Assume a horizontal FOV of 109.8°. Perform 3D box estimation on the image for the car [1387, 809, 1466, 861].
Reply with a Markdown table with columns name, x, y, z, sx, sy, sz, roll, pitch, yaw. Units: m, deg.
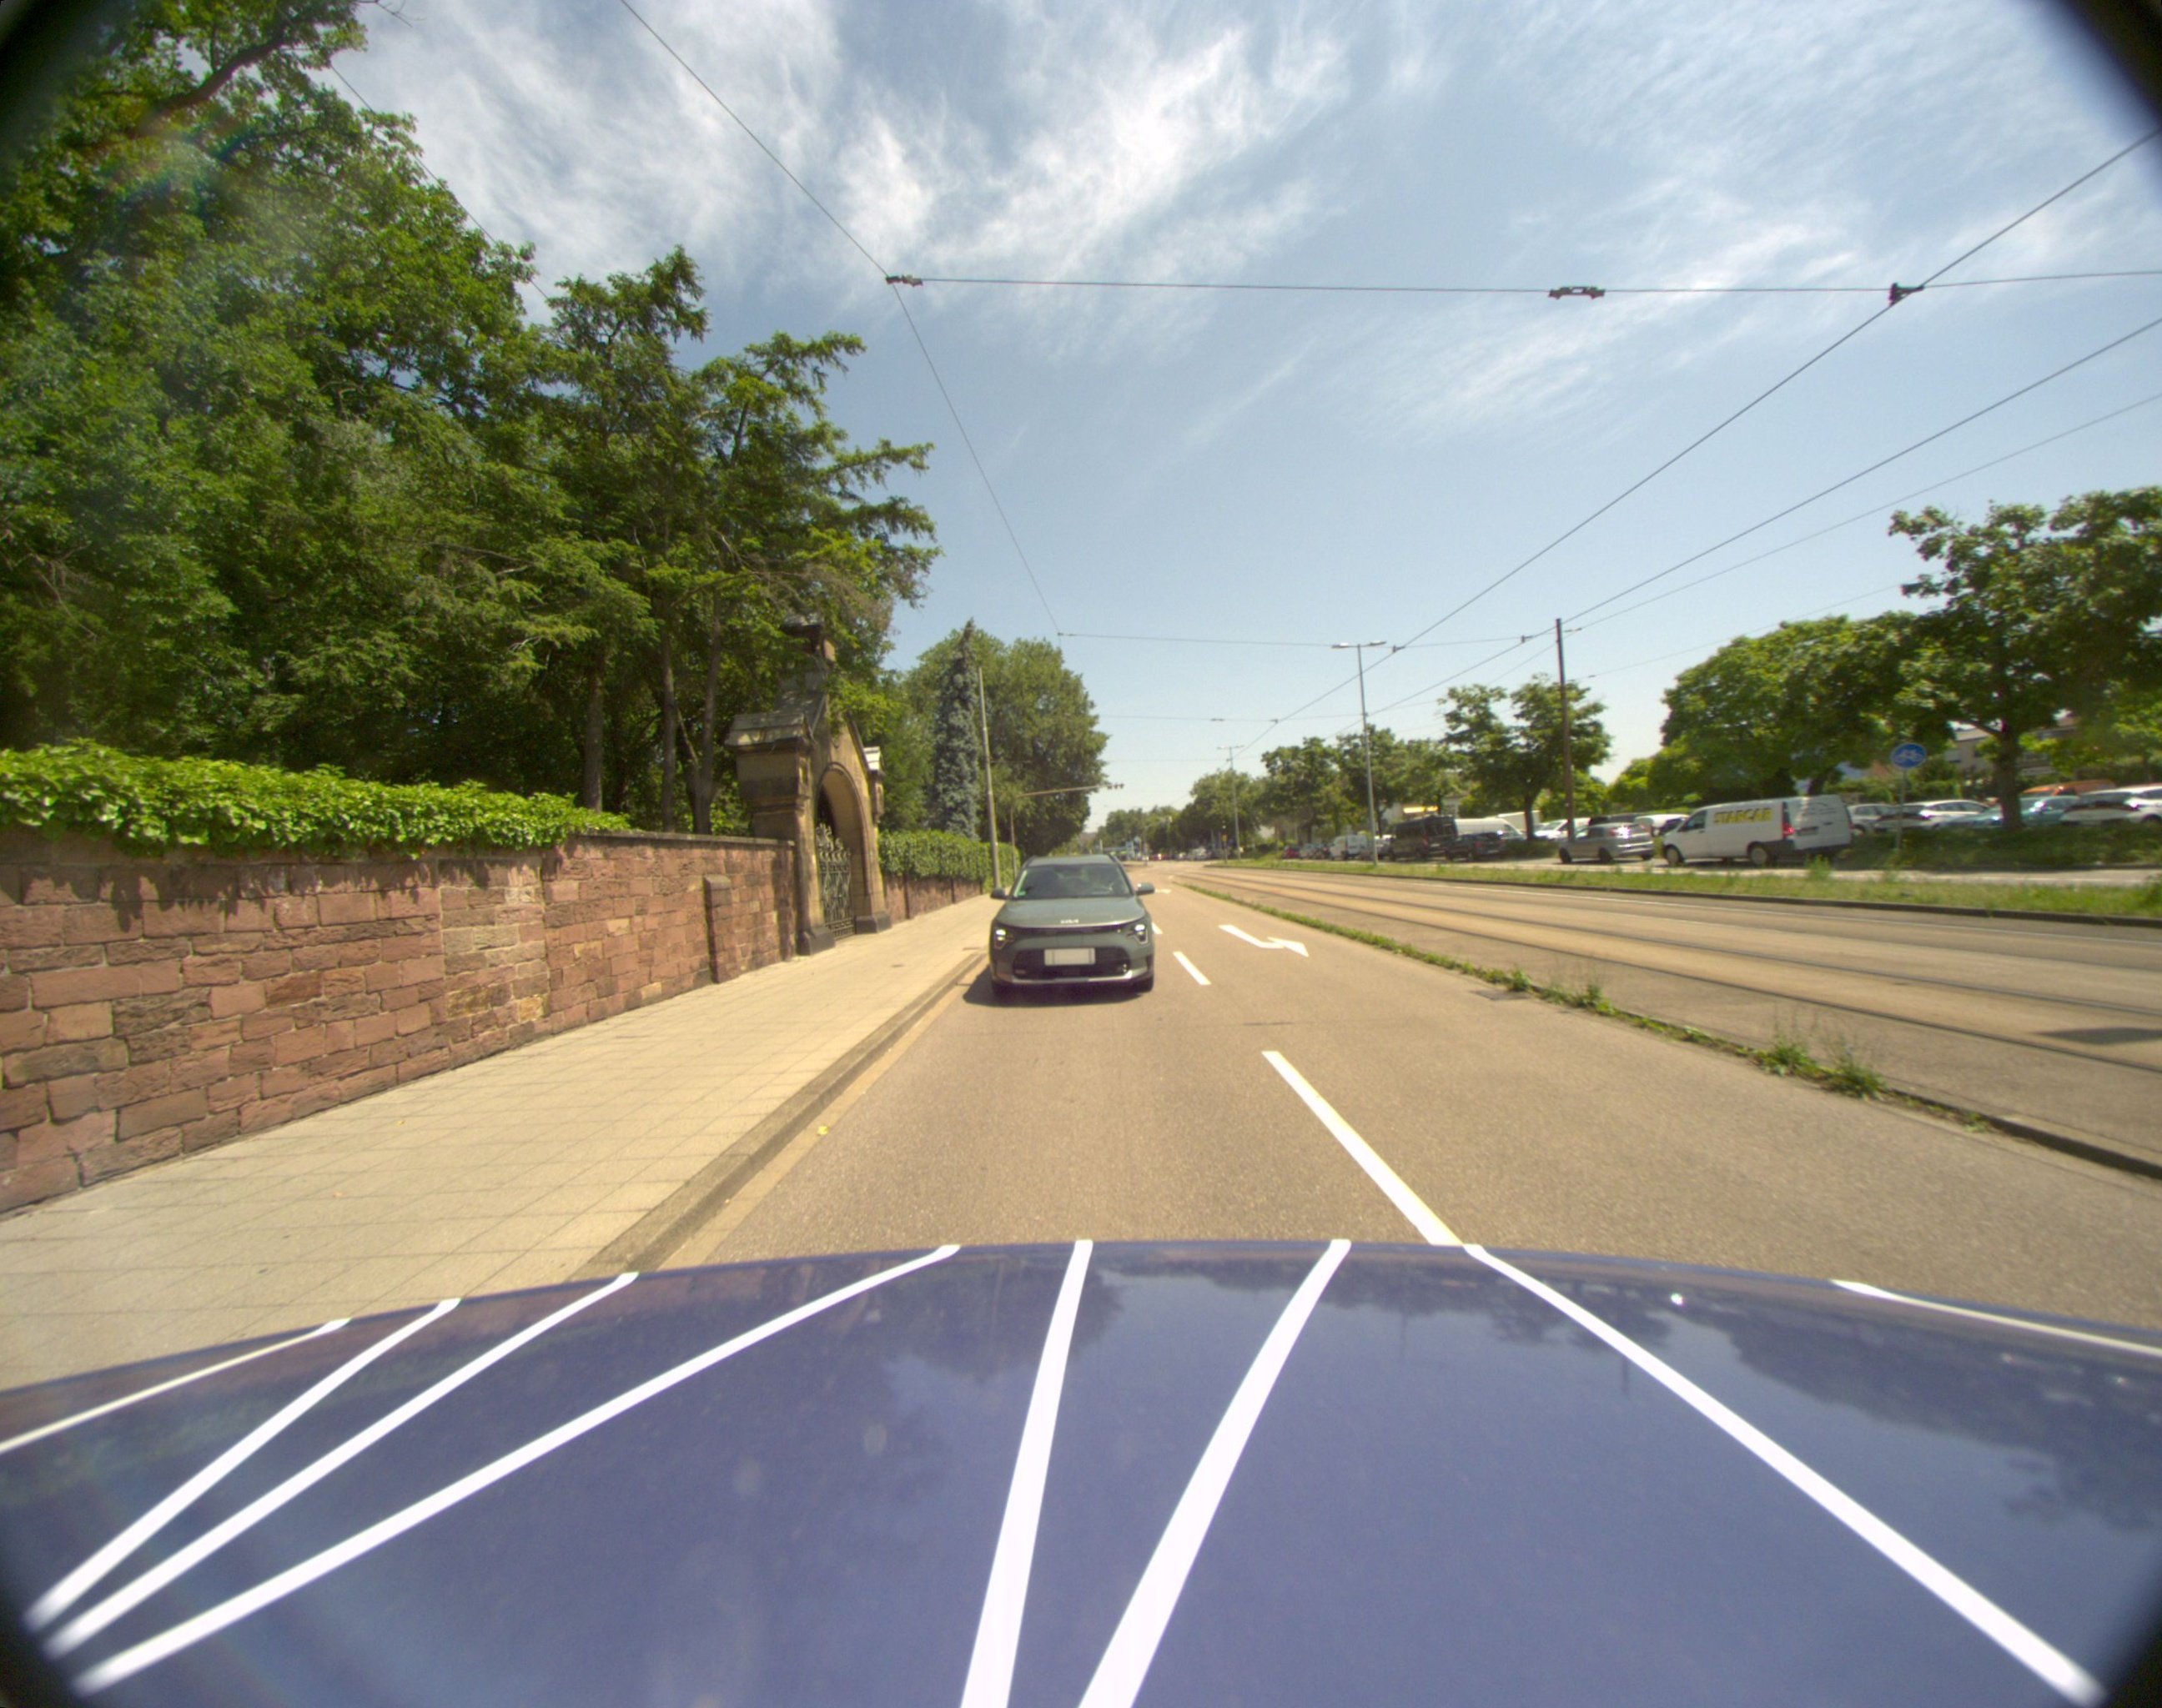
| name | x | y | z | sx | sy | sz | roll | pitch | yaw |
| --- | --- | --- | --- | --- | --- | --- | --- | --- | --- |
| car | 20.532 | -1.102 | 45.504 | 2.243 | 2.822 | 5.667 | -3 | 1 | 2 |

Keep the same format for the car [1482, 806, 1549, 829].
| name | x | y | z | sx | sy | sz | roll | pitch | yaw |
| --- | --- | --- | --- | --- | --- | --- | --- | --- | --- |
| car | 45.539 | -3.825 | 79.659 | 5.744 | 2.051 | 2.147 | -3 | 1 | -1 |

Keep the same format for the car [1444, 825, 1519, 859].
| name | x | y | z | sx | sy | sz | roll | pitch | yaw |
| --- | --- | --- | --- | --- | --- | --- | --- | --- | --- |
| car | 20.541 | -0.605 | 39.143 | 1.975 | 1.568 | 3.752 | -3 | 1 | 2 |

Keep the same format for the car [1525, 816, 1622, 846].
| name | x | y | z | sx | sy | sz | roll | pitch | yaw |
| --- | --- | --- | --- | --- | --- | --- | --- | --- | --- |
| car | 31.553 | -1.468 | 48.756 | 4.926 | 1.568 | 2.000 | -4 | 0 | -1 |

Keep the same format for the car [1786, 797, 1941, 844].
| name | x | y | z | sx | sy | sz | roll | pitch | yaw |
| --- | --- | --- | --- | --- | --- | --- | --- | --- | --- |
| car | 30.547 | -1.287 | 29.744 | 4.163 | 1.481 | 2.023 | -4 | 0 | -6 |

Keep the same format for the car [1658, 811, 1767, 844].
| name | x | y | z | sx | sy | sz | roll | pitch | yaw |
| --- | --- | --- | --- | --- | --- | --- | --- | --- | --- |
| car | 31.378 | -1.299 | 37.823 | 3.998 | 1.398 | 1.797 | -3 | 0 | -3 |

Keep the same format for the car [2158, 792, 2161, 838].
| name | x | y | z | sx | sy | sz | roll | pitch | yaw |
| --- | --- | --- | --- | --- | --- | --- | --- | --- | --- |
| car | 30.548 | -1.150 | 19.623 | 3.423 | 1.225 | 1.643 | -4 | 0 | -6 |

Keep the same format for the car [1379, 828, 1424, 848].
| name | x | y | z | sx | sy | sz | roll | pitch | yaw |
| --- | --- | --- | --- | --- | --- | --- | --- | --- | --- |
| car | 34.289 | -1.684 | 81.320 | 3.998 | 1.863 | 1.715 | -3 | 1 | -5 |

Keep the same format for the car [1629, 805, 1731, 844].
| name | x | y | z | sx | sy | sz | roll | pitch | yaw |
| --- | --- | --- | --- | --- | --- | --- | --- | --- | --- |
| car | 31.852 | -1.557 | 40.472 | 3.998 | 1.708 | 1.797 | -4 | 0 | -3 |

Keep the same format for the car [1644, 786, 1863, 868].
| name | x | y | z | sx | sy | sz | roll | pitch | yaw |
| --- | --- | --- | --- | --- | --- | --- | --- | --- | --- |
| car | 20.110 | -0.747 | 23.143 | 1.880 | 1.999 | 5.344 | -7 | 0 | 2 |

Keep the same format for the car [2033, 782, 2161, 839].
| name | x | y | z | sx | sy | sz | roll | pitch | yaw |
| --- | --- | --- | --- | --- | --- | --- | --- | --- | --- |
| car | 31.169 | -1.334 | 22.184 | 4.171 | 1.481 | 1.984 | -4 | 0 | 0 |

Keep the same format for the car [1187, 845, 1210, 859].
| name | x | y | z | sx | sy | sz | roll | pitch | yaw |
| --- | --- | --- | --- | --- | --- | --- | --- | --- | --- |
| car | 17.029 | -0.265 | 110.239 | 1.822 | 1.979 | 4.209 | -3 | 1 | -13 |

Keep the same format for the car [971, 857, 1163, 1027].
| name | x | y | z | sx | sy | sz | roll | pitch | yaw |
| --- | --- | --- | --- | --- | --- | --- | --- | --- | --- |
| car | -0.129 | 0.886 | 9.748 | 1.824 | 1.577 | 4.287 | -4 | 0 | 0 |

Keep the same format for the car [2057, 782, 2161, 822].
| name | x | y | z | sx | sy | sz | roll | pitch | yaw |
| --- | --- | --- | --- | --- | --- | --- | --- | --- | --- |
| car | 44.371 | -2.238 | 32.244 | 3.998 | 1.486 | 1.715 | -3 | 1 | -4 |

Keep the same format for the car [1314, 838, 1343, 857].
| name | x | y | z | sx | sy | sz | roll | pitch | yaw |
| --- | --- | --- | --- | --- | --- | --- | --- | --- | --- |
| car | 21.168 | -0.573 | 65.171 | 1.429 | 1.470 | 3.262 | -3 | 1 | 1 |

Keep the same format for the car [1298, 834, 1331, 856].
| name | x | y | z | sx | sy | sz | roll | pitch | yaw |
| --- | --- | --- | --- | --- | --- | --- | --- | --- | --- |
| car | 21.399 | -0.800 | 69.674 | 1.635 | 1.882 | 4.496 | -3 | 1 | 1 |

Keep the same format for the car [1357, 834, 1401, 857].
| name | x | y | z | sx | sy | sz | roll | pitch | yaw |
| --- | --- | --- | --- | --- | --- | --- | --- | --- | --- |
| car | 20.971 | -0.586 | 53.557 | 1.767 | 1.456 | 3.608 | -3 | 1 | 3 |

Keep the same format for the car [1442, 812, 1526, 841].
| name | x | y | z | sx | sy | sz | roll | pitch | yaw |
| --- | --- | --- | --- | --- | --- | --- | --- | --- | --- |
| car | 31.569 | -2.119 | 59.665 | 5.434 | 1.945 | 2.029 | -3 | 1 | 3 |

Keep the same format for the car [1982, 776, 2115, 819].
| name | x | y | z | sx | sy | sz | roll | pitch | yaw |
| --- | --- | --- | --- | --- | --- | --- | --- | --- | --- |
| car | 43.892 | -2.552 | 34.528 | 4.129 | 1.643 | 1.692 | -3 | 0 | -4 |

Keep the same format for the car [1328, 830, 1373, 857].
| name | x | y | z | sx | sy | sz | roll | pitch | yaw |
| --- | --- | --- | --- | --- | --- | --- | --- | --- | --- |
| car | 21.009 | -0.855 | 59.406 | 1.924 | 1.937 | 4.817 | -3 | 1 | 3 |

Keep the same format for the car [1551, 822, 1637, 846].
| name | x | y | z | sx | sy | sz | roll | pitch | yaw |
| --- | --- | --- | --- | --- | --- | --- | --- | --- | --- |
| car | 30.945 | -1.209 | 45.866 | 3.998 | 1.137 | 1.735 | -4 | 0 | -3 |

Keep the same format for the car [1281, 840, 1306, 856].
| name | x | y | z | sx | sy | sz | roll | pitch | yaw |
| --- | --- | --- | --- | --- | --- | --- | --- | --- | --- |
| car | 21.276 | -0.626 | 76.181 | 1.581 | 1.471 | 3.423 | -3 | 1 | 3 |

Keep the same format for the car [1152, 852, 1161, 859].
| name | x | y | z | sx | sy | sz | roll | pitch | yaw |
| --- | --- | --- | --- | --- | --- | --- | --- | --- | --- |
| car | 17.115 | 0.424 | 172.080 | 1.820 | 1.471 | 3.423 | -3 | 1 | 3 |

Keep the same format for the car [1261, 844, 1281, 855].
| name | x | y | z | sx | sy | sz | roll | pitch | yaw |
| --- | --- | --- | --- | --- | --- | --- | --- | --- | --- |
| car | 22.076 | -0.521 | 88.219 | 1.581 | 1.152 | 3.423 | -3 | 1 | 3 |

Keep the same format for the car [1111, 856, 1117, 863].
| name | x | y | z | sx | sy | sz | roll | pitch | yaw |
| --- | --- | --- | --- | --- | --- | --- | --- | --- | --- |
| car | 11.039 | 1.834 | 255.197 | 1.781 | 1.907 | 3.753 | -3 | 1 | -3 |

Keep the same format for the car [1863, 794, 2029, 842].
| name | x | y | z | sx | sy | sz | roll | pitch | yaw |
| --- | --- | --- | --- | --- | --- | --- | --- | --- | --- |
| car | 31.028 | -1.267 | 27.327 | 4.145 | 1.481 | 1.859 | -3 | 1 | -6 |

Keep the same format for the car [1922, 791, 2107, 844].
| name | x | y | z | sx | sy | sz | roll | pitch | yaw |
| --- | --- | --- | --- | --- | --- | --- | --- | --- | --- |
| car | 30.479 | -1.180 | 24.876 | 4.040 | 1.481 | 1.912 | -3 | 1 | -6 |

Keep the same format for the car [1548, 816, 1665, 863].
| name | x | y | z | sx | sy | sz | roll | pitch | yaw |
| --- | --- | --- | --- | --- | --- | --- | --- | --- | --- |
| car | 20.274 | -0.533 | 29.553 | 1.653 | 1.494 | 4.126 | -7 | 0 | 2 |

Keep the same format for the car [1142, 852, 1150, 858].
| name | x | y | z | sx | sy | sz | roll | pitch | yaw |
| --- | --- | --- | --- | --- | --- | --- | --- | --- | --- |
| car | 16.320 | 0.247 | 190.976 | 1.780 | 1.310 | 3.754 | -3 | 1 | 0 |
